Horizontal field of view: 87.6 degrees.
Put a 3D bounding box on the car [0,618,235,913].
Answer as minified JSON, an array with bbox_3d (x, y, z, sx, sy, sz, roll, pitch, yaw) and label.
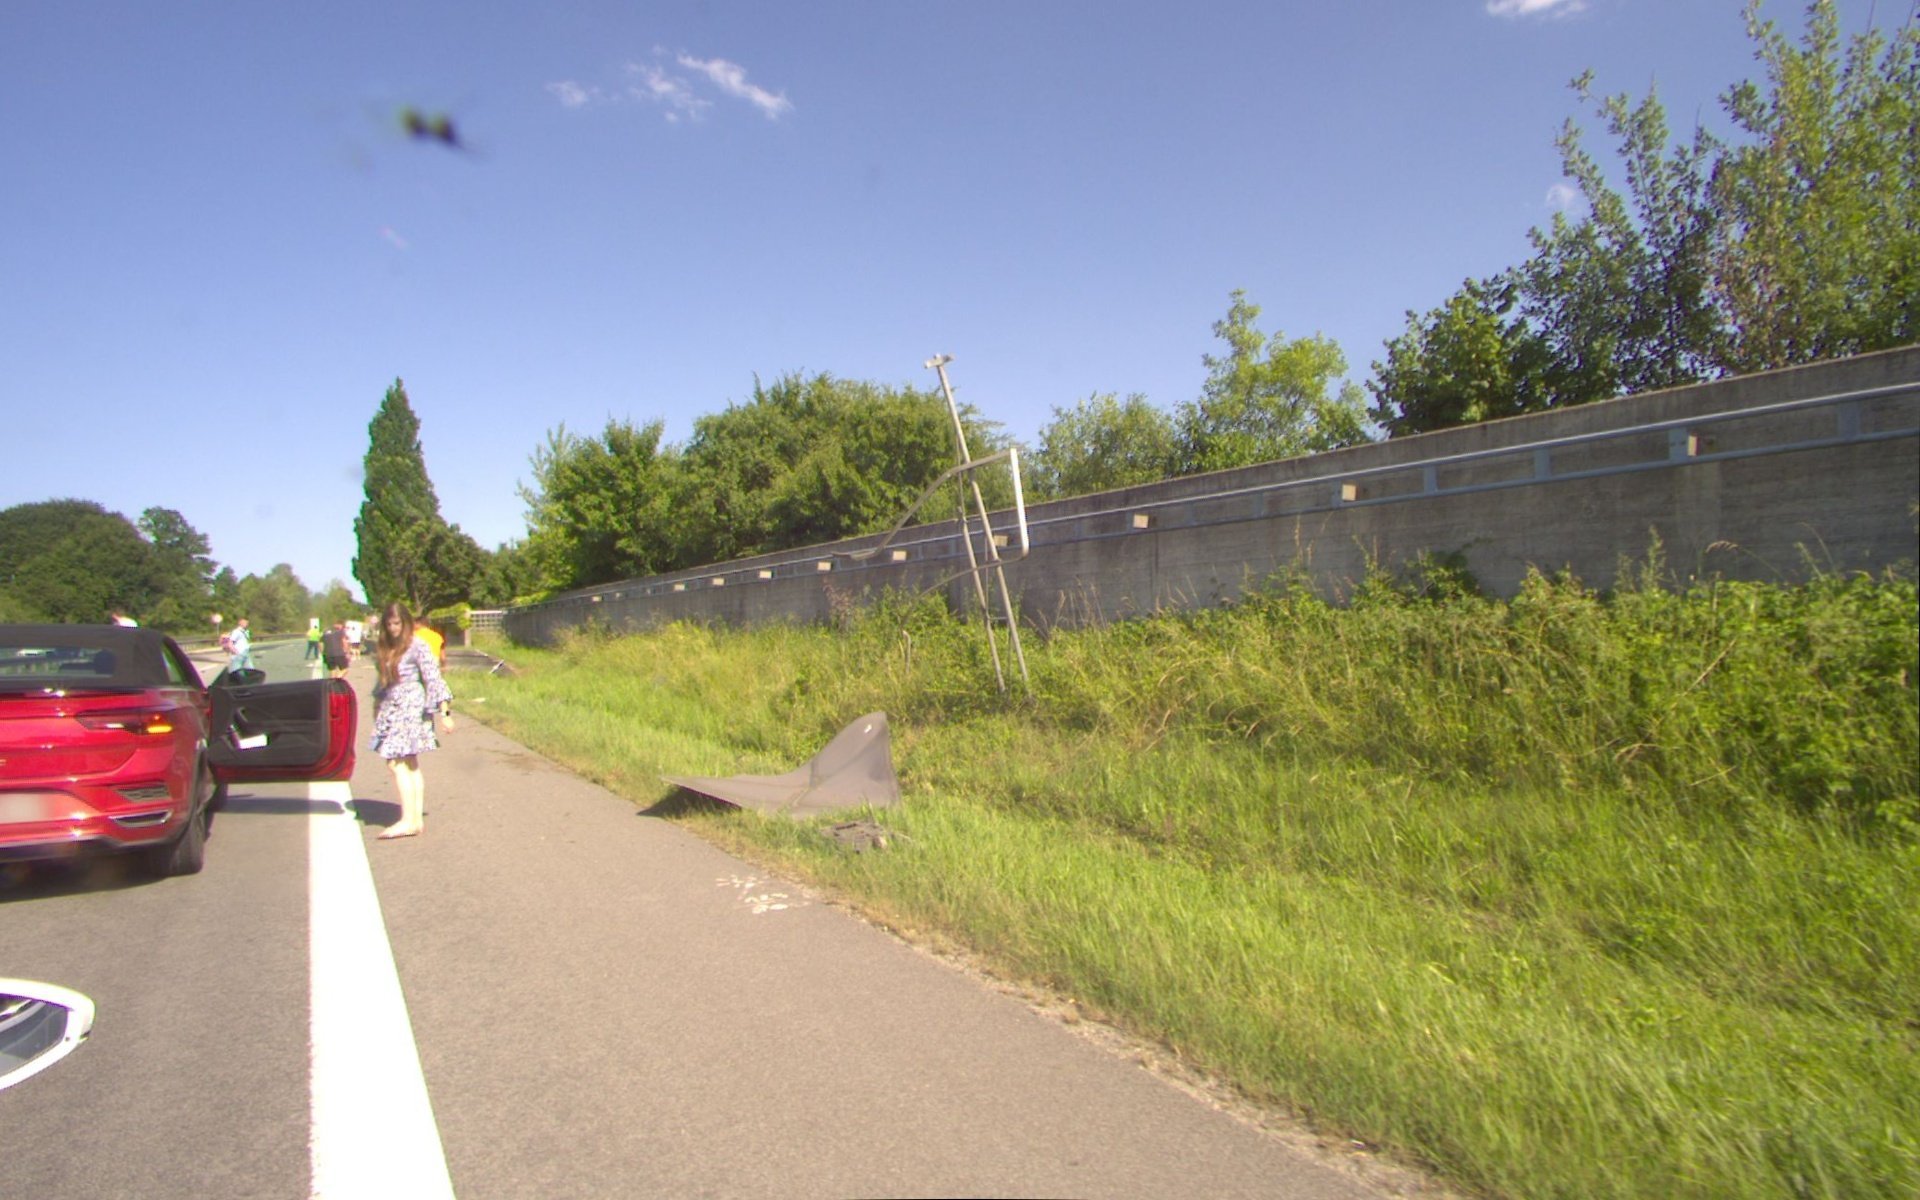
[{"bbox_3d":[-6.126,0.888,6.820,1.715,1.506,4.184,1,-2,-33],"label":"car"}]

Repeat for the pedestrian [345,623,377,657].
[{"bbox_3d":[-30.932,2.050,51.723,0.981,1.711,1.010,0,-1,14],"label":"pedestrian"}]

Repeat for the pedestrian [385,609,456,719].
[{"bbox_3d":[-8.684,0.998,16.152,0.946,1.675,1.273,-1,0,-27],"label":"pedestrian"}]

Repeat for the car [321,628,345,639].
[{"bbox_3d":[-87.516,4.617,139.823,1.707,1.506,4.204,1,-2,-17],"label":"car"}]

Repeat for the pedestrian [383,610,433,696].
[{"bbox_3d":[-11.579,1.104,21.009,0.885,1.747,0.750,1,-2,-30],"label":"pedestrian"}]

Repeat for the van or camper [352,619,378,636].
[{"bbox_3d":[-81.869,3.780,137.874,1.964,2.345,4.465,1,-2,-16],"label":"van or camper"}]

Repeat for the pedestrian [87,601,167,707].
[{"bbox_3d":[-15.878,1.005,19.133,1.096,1.937,1.248,-1,0,-37],"label":"pedestrian"}]

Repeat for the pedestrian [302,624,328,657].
[{"bbox_3d":[-34.374,2.157,53.375,1.043,1.711,1.013,1,-2,-27],"label":"pedestrian"}]

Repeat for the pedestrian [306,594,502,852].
[{"bbox_3d":[-4.078,0.826,7.348,1.115,1.717,0.886,-1,0,-39],"label":"pedestrian"}]

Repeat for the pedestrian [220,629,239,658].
[{"bbox_3d":[-42.461,2.532,58.225,0.782,1.711,0.789,1,-2,-29],"label":"pedestrian"}]

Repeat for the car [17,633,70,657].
[{"bbox_3d":[-59.715,2.901,65.290,1.676,1.444,4.282,1,-2,-31],"label":"car"}]

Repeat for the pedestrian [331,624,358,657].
[{"bbox_3d":[-32.129,2.124,52.295,1.100,1.711,0.970,1,-2,-25],"label":"pedestrian"}]

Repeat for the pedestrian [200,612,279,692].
[{"bbox_3d":[-16.802,1.211,23.384,1.087,1.811,1.091,0,-1,-10],"label":"pedestrian"}]

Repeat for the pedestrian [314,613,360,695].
[{"bbox_3d":[-13.976,1.204,22.484,0.802,1.782,0.824,1,-2,-29],"label":"pedestrian"}]
